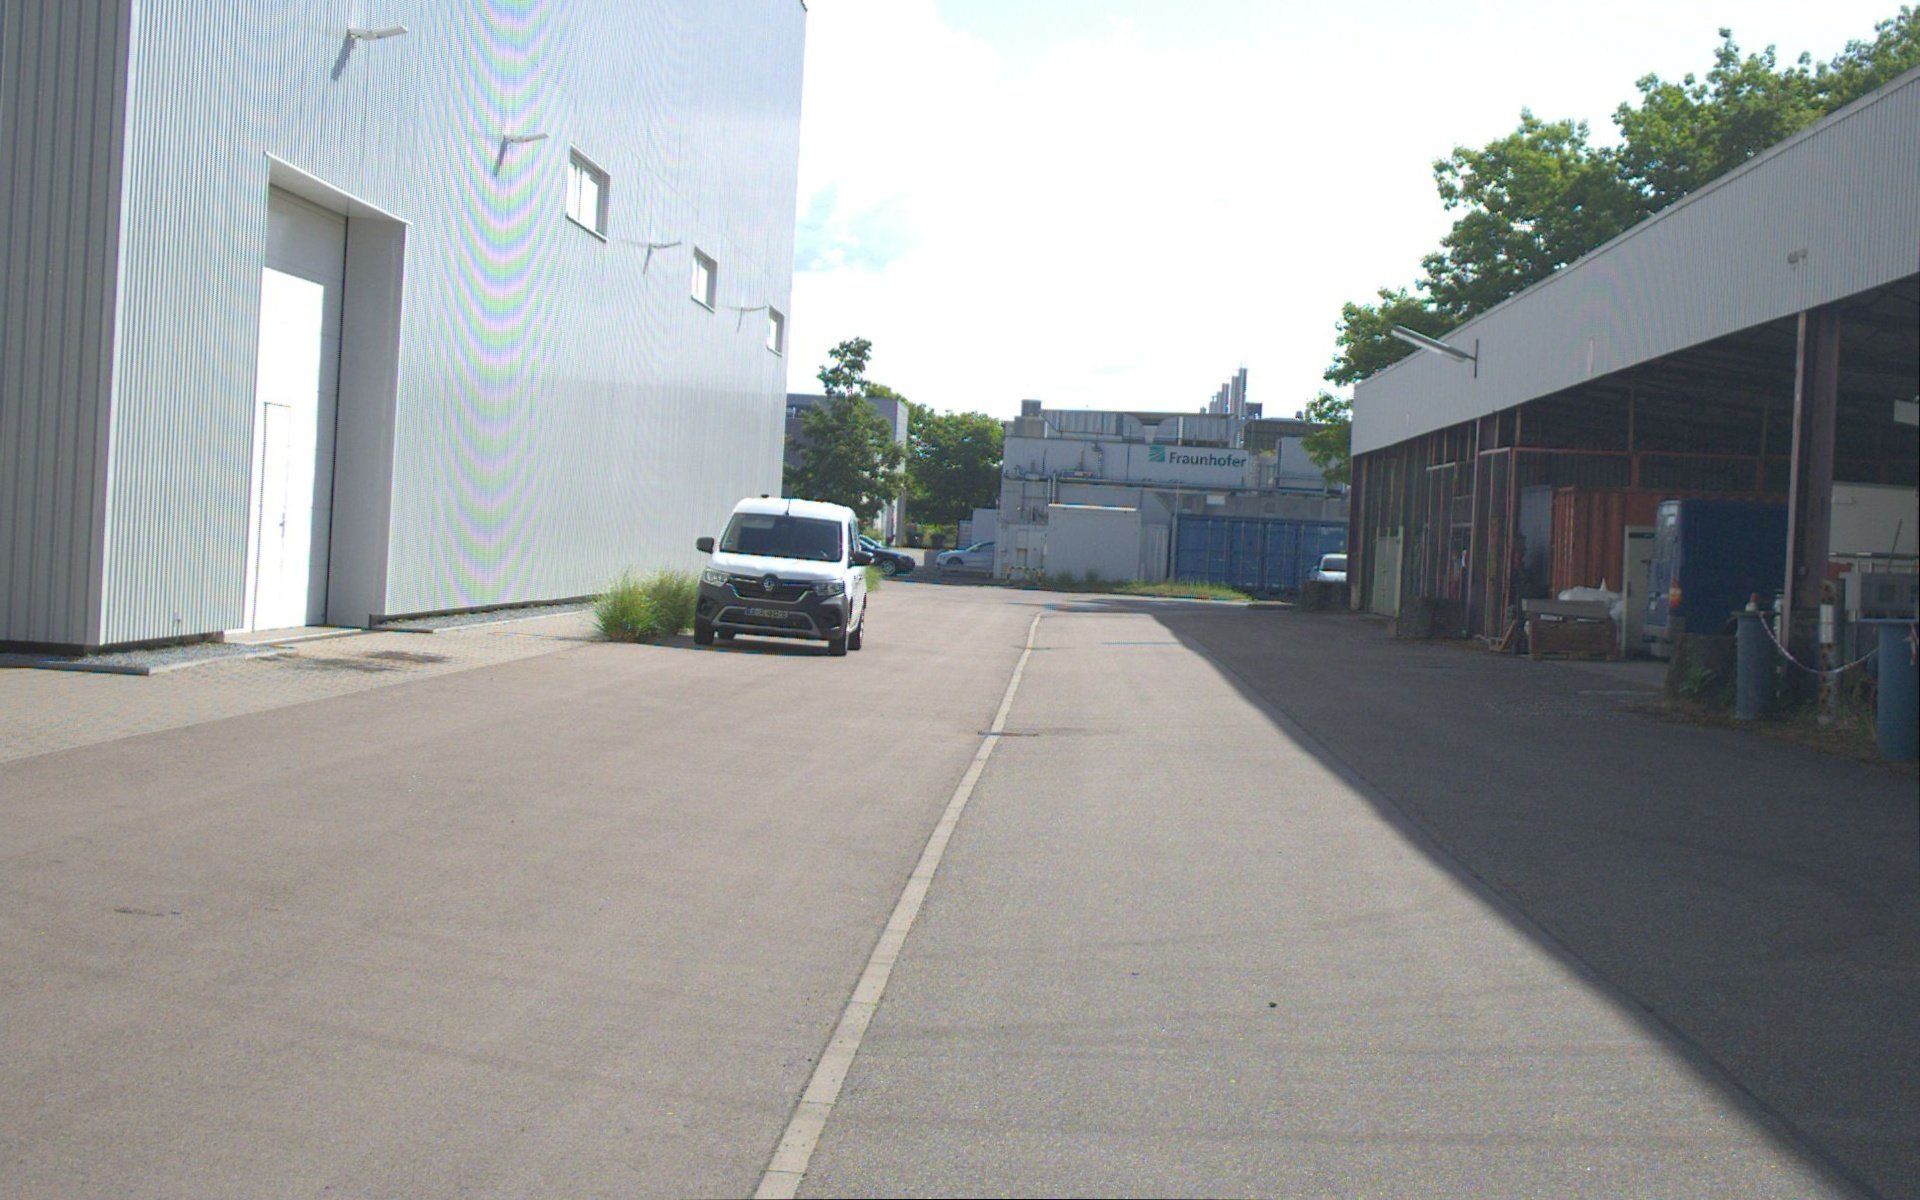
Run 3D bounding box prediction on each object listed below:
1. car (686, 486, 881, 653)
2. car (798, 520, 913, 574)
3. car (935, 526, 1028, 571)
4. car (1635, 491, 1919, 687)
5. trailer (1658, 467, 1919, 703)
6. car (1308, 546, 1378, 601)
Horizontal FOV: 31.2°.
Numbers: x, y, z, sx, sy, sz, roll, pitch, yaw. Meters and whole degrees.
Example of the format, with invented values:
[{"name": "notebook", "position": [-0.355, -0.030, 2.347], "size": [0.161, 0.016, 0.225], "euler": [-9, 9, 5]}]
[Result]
[{"name": "car", "position": [-2.067, -0.400, 41.497], "size": [1.819, 1.781, 4.405], "euler": [5, 1, 2]}, {"name": "car", "position": [-3.751, -1.905, 123.837], "size": [3.987, 1.592, 1.741], "euler": [5, -1, 1]}, {"name": "car", "position": [0.963, -2.271, 151.547], "size": [3.987, 1.592, 1.848], "euler": [5, -1, 1]}, {"name": "car", "position": [11.550, -0.099, 46.279], "size": [4.433, 2.301, 1.915], "euler": [5, -1, 3]}, {"name": "trailer", "position": [9.102, -0.162, 37.583], "size": [2.524, 2.390, 1.726], "euler": [3, 0, 3]}, {"name": "car", "position": [12.324, -0.862, 110.770], "size": [1.962, 1.559, 4.058], "euler": [4, 2, 4]}]
